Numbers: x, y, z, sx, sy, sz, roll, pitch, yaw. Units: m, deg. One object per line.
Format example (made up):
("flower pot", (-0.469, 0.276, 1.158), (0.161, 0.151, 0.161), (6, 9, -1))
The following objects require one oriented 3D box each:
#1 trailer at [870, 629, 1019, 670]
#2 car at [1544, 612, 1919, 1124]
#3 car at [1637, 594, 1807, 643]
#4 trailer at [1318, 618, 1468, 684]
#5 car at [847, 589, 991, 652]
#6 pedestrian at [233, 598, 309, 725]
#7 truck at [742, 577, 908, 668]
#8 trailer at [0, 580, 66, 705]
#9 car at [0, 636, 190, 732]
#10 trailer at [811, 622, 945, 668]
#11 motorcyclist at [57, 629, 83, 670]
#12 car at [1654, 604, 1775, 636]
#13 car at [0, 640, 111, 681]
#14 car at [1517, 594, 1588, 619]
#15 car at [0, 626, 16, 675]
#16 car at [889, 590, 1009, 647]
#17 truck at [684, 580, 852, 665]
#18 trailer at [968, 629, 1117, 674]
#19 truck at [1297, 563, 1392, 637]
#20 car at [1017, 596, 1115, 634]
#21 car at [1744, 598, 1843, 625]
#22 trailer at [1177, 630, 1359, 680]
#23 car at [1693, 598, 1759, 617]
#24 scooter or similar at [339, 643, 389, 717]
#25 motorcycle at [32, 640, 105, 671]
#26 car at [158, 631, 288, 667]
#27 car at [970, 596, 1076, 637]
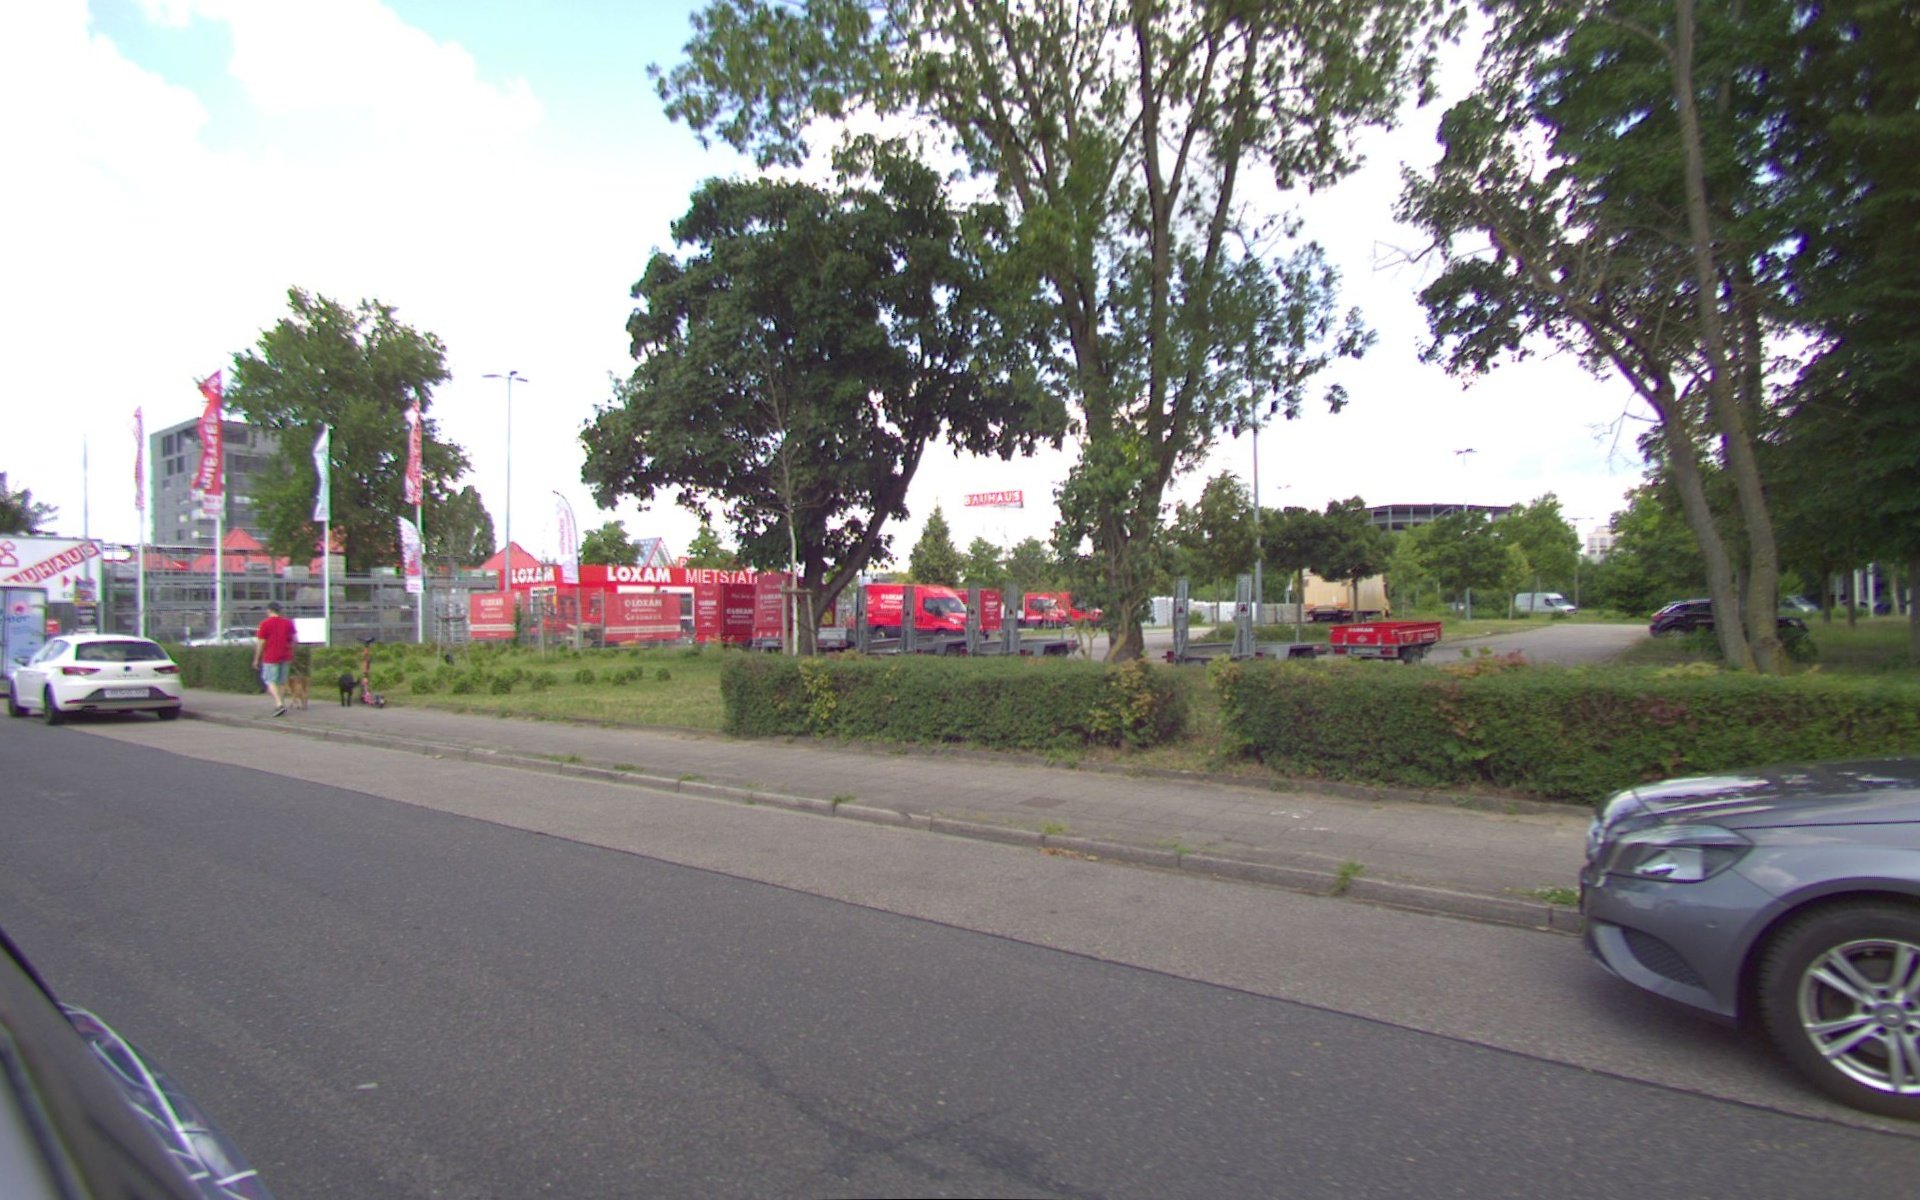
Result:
("trailer", (-0.358, 1.344, 28.420), (2.155, 0.919, 4.197), (0, 0, 35))
("car", (4.198, 0.759, 2.735), (4.326, 1.431, 1.693), (-2, -4, 39))
("car", (24.958, 0.620, 33.301), (4.350, 1.523, 1.553), (-1, -1, 37))
("trailer", (9.184, 1.027, 21.344), (1.715, 1.200, 3.775), (-3, -2, 43))
("car", (-1.878, 0.817, 44.309), (6.430, 2.613, 2.244), (0, 0, 38))
("pedestrian", (-11.465, 0.990, 16.833), (0.884, 2.029, 0.802), (-1, -1, 37))
("truck", (-4.062, 0.629, 31.494), (1.777, 2.613, 5.495), (0, 0, 38))
("trailer", (-23.422, 1.024, 24.196), (4.695, 2.804, 2.119), (-2, -4, 37))
("car", (-15.205, 1.395, 17.599), (4.227, 1.490, 1.749), (-2, -4, 37))
("trailer", (-2.338, 1.272, 29.801), (1.668, 1.129, 4.197), (0, 0, 35))
("motorcyclist", (-38.097, 2.106, 43.309), (0.993, 1.736, 0.667), (-2, -2, 38))
("car", (34.875, 0.939, 46.891), (4.404, 1.423, 1.975), (-1, -1, 38))
("car", (-35.492, 2.305, 38.624), (1.919, 1.387, 4.340), (-2, -1, 26))
("car", (58.780, 0.657, 100.509), (2.326, 2.461, 5.928), (-1, -1, -19))
("car", (-40.885, 2.089, 40.142), (1.992, 1.964, 4.946), (-2, -1, 43))
("car", (-0.579, 0.850, 48.996), (5.716, 2.613, 2.244), (0, 0, 38))
("truck", (-6.279, 0.688, 33.843), (1.813, 2.613, 5.698), (0, 0, 39))
("trailer", (2.226, 1.288, 26.234), (2.019, 0.919, 4.197), (0, 0, 35))
("truck", (22.553, -0.012, 59.048), (2.983, 3.979, 8.245), (0, 0, 37))
("car", (7.100, 0.979, 68.333), (6.428, 2.433, 2.245), (0, 0, 37))
("car", (67.739, 0.966, 82.388), (2.173, 2.092, 5.928), (-1, -1, -19))
("trailer", (7.042, 1.199, 22.865), (2.187, 0.920, 4.545), (-3, -2, 42))
("car", (63.915, 0.663, 84.501), (1.887, 1.524, 4.013), (-1, -1, -20))
("scooter or similar", (-10.377, 1.369, 17.613), (0.511, 1.202, 1.281), (-1, 0, -41))
("motorcycle", (-38.114, 2.360, 43.267), (0.993, 1.223, 2.200), (-2, -2, 38))
("car", (-34.690, 2.277, 47.743), (1.952, 1.465, 4.639), (-2, -1, 38))
("car", (3.863, 0.986, 63.142), (6.428, 2.433, 2.245), (0, 0, 37))
